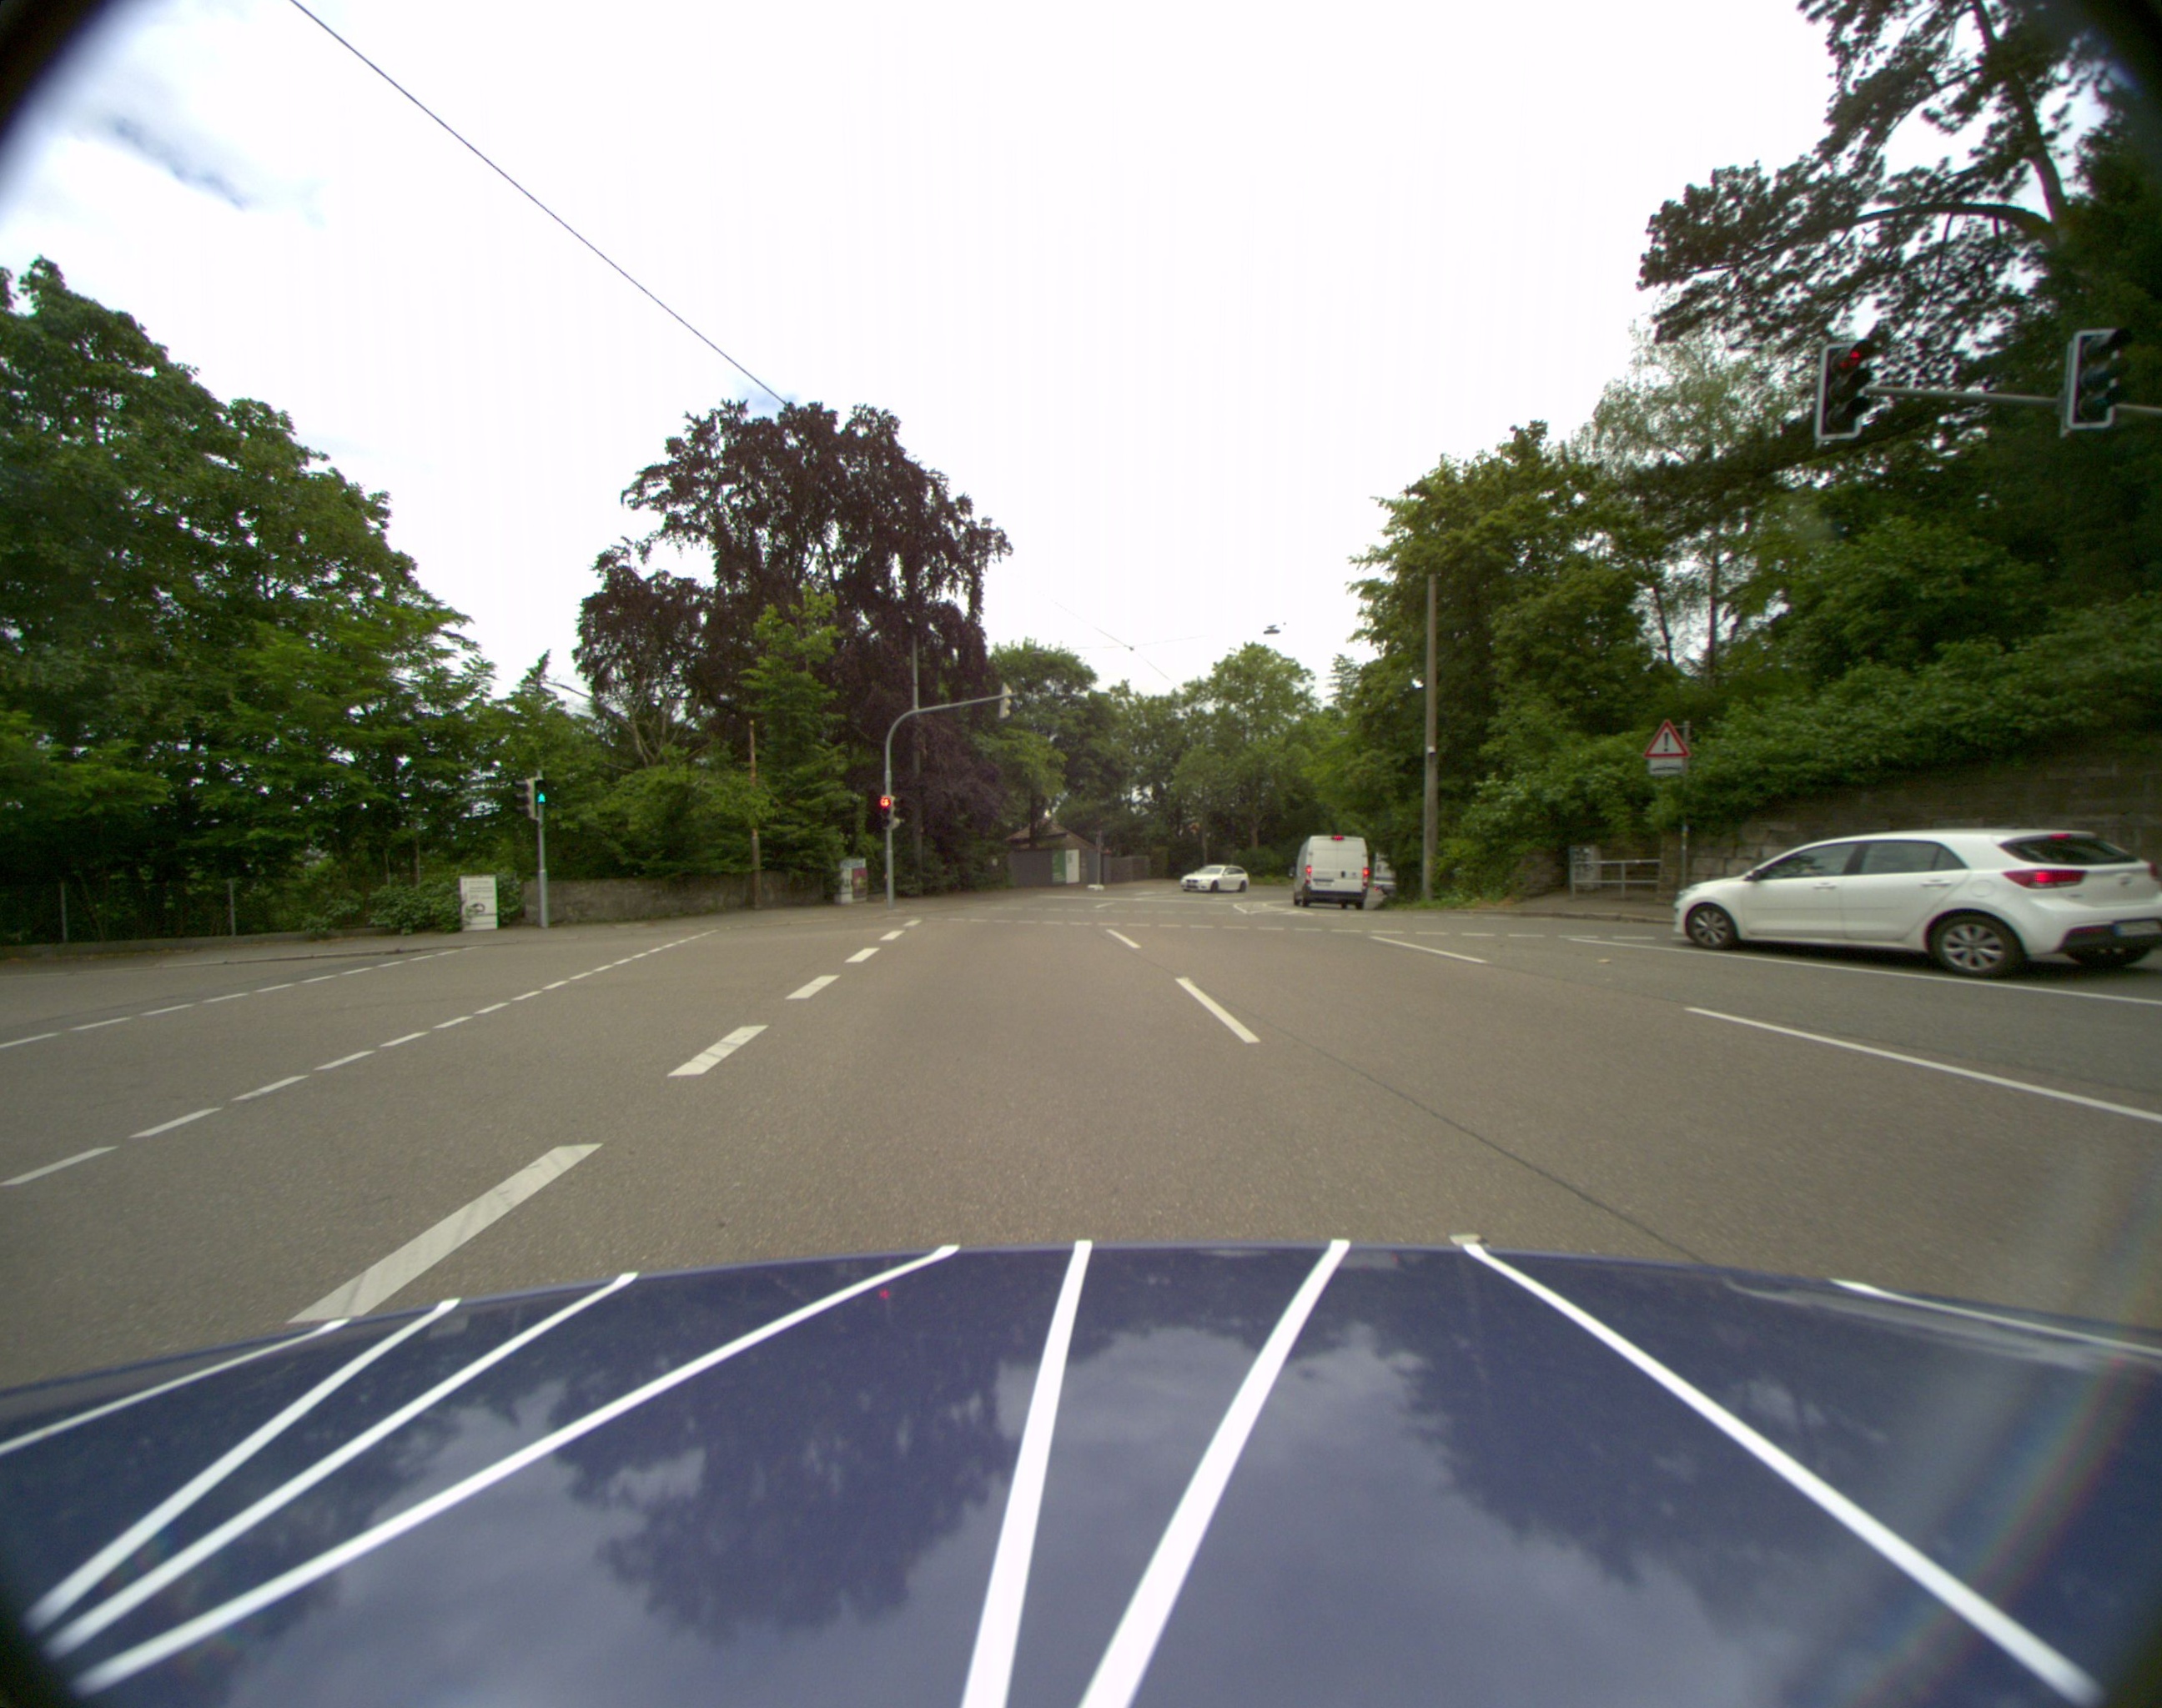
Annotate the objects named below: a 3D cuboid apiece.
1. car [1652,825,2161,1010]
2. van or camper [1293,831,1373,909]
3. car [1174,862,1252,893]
[{"bbox_3d":[9.109,0.556,8.729,1.640,1.547,4.111,-3,0,-7],"label":"car"},{"bbox_3d":[8.983,0.668,27.517,2.205,2.530,5.367,0,-3,13],"label":"van or camper"},{"bbox_3d":[7.235,1.233,41.366,1.818,1.463,4.795,6,4,42],"label":"car"}]
